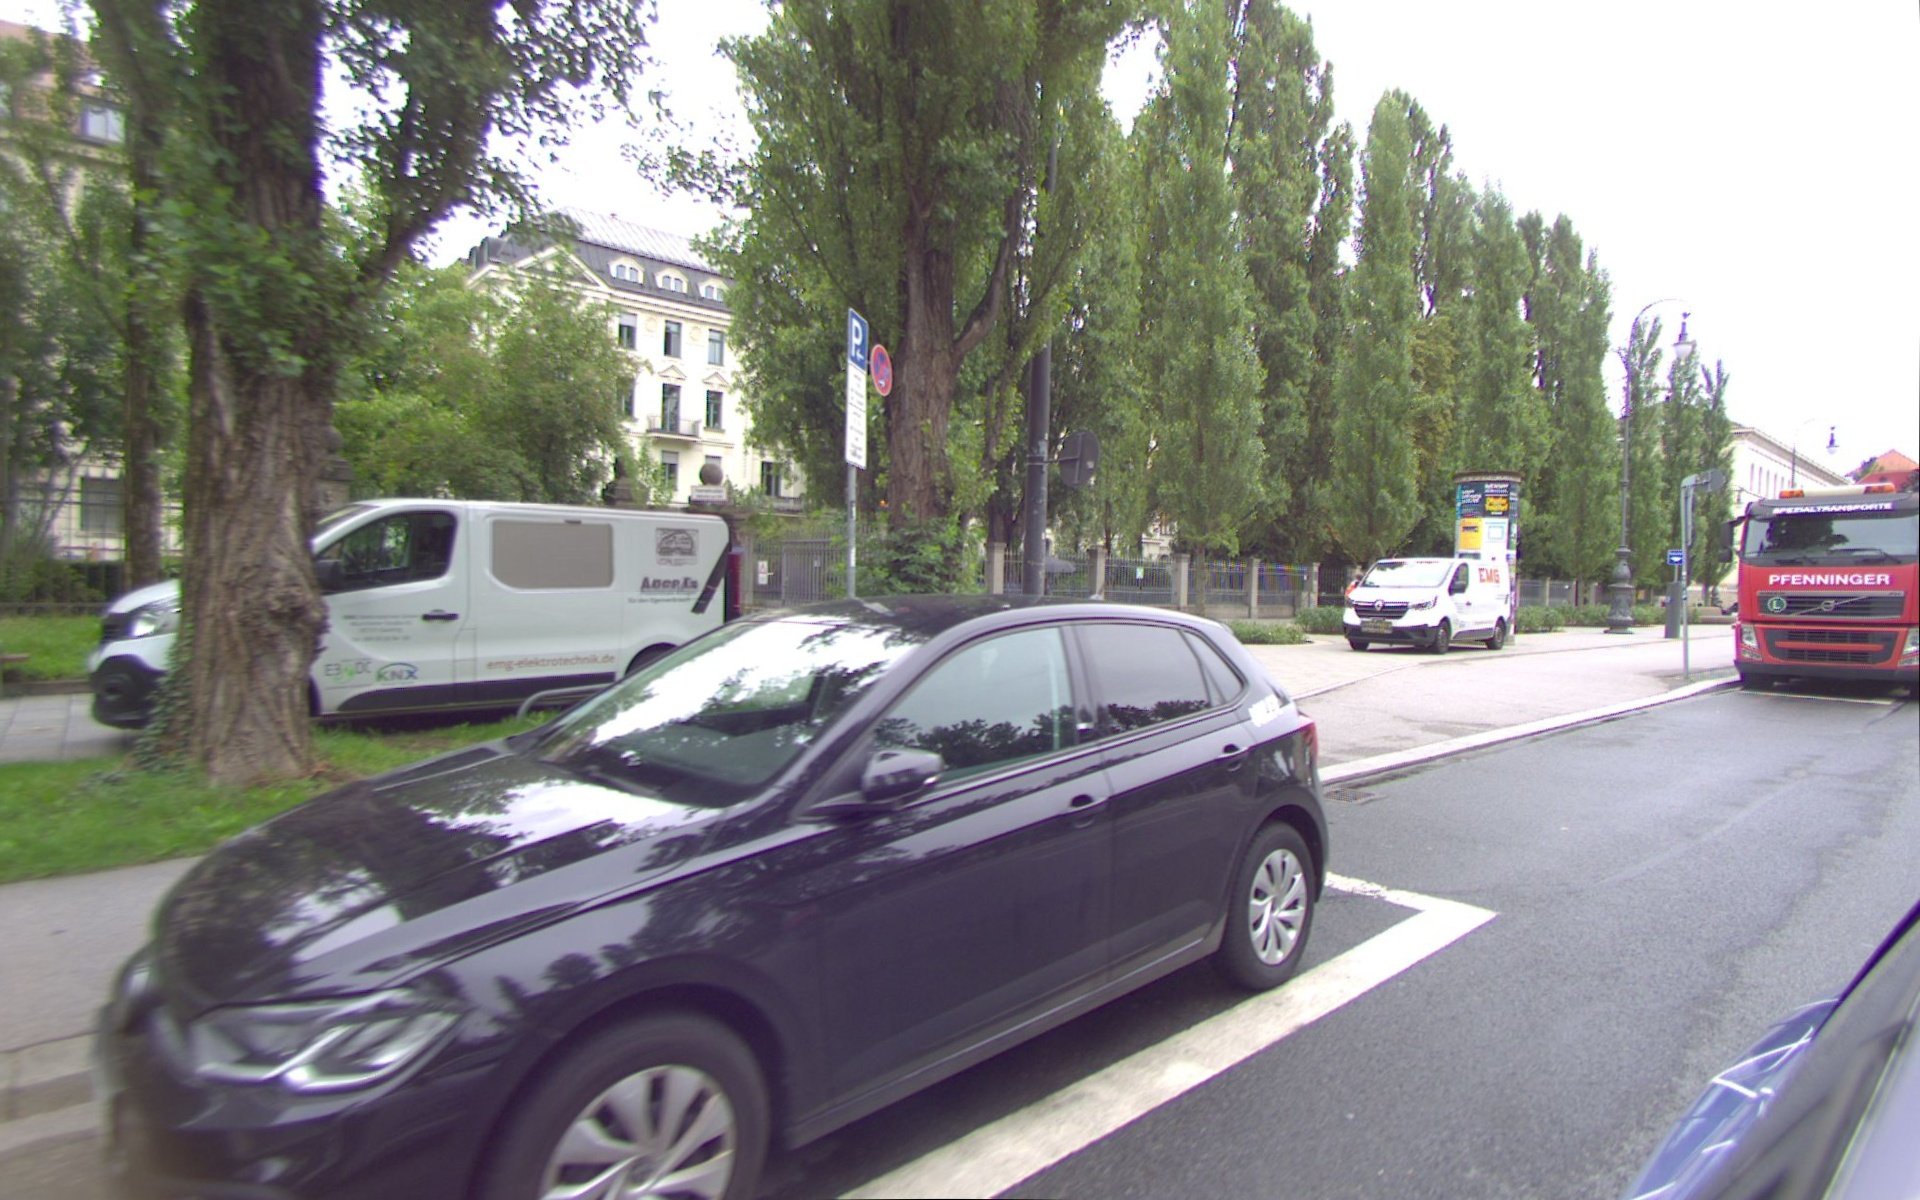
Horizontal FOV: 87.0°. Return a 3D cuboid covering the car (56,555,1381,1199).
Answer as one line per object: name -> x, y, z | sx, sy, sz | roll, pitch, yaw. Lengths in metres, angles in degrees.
car -> -0.330, 0.622, 3.328 | 3.932, 1.438, 1.678 | 0, 2, -43

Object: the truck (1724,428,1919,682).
truck -> 16.816, -0.659, 18.399 | 10.103, 3.609, 2.849 | 0, 1, -42

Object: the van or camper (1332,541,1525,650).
van or camper -> 9.986, -0.099, 21.391 | 4.902, 2.039, 2.006 | 0, 0, -43

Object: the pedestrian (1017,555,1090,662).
pedestrian -> 1.469, 0.118, 15.932 | 0.825, 1.628, 0.774 | 0, 1, -39

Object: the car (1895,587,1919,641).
car -> 27.274, 0.397, 27.880 | 4.362, 1.409, 1.845 | 0, 2, -42

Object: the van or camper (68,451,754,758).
van or camper -> -4.486, 0.014, 8.853 | 4.951, 1.958, 1.978 | 0, 0, -42

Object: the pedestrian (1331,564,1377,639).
pedestrian -> 9.202, 0.021, 23.636 | 0.742, 1.715, 0.717 | 0, 1, -42

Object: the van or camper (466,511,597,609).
van or camper -> -13.226, -1.206, 31.058 | 2.210, 2.740, 5.220 | 0, 2, -41
